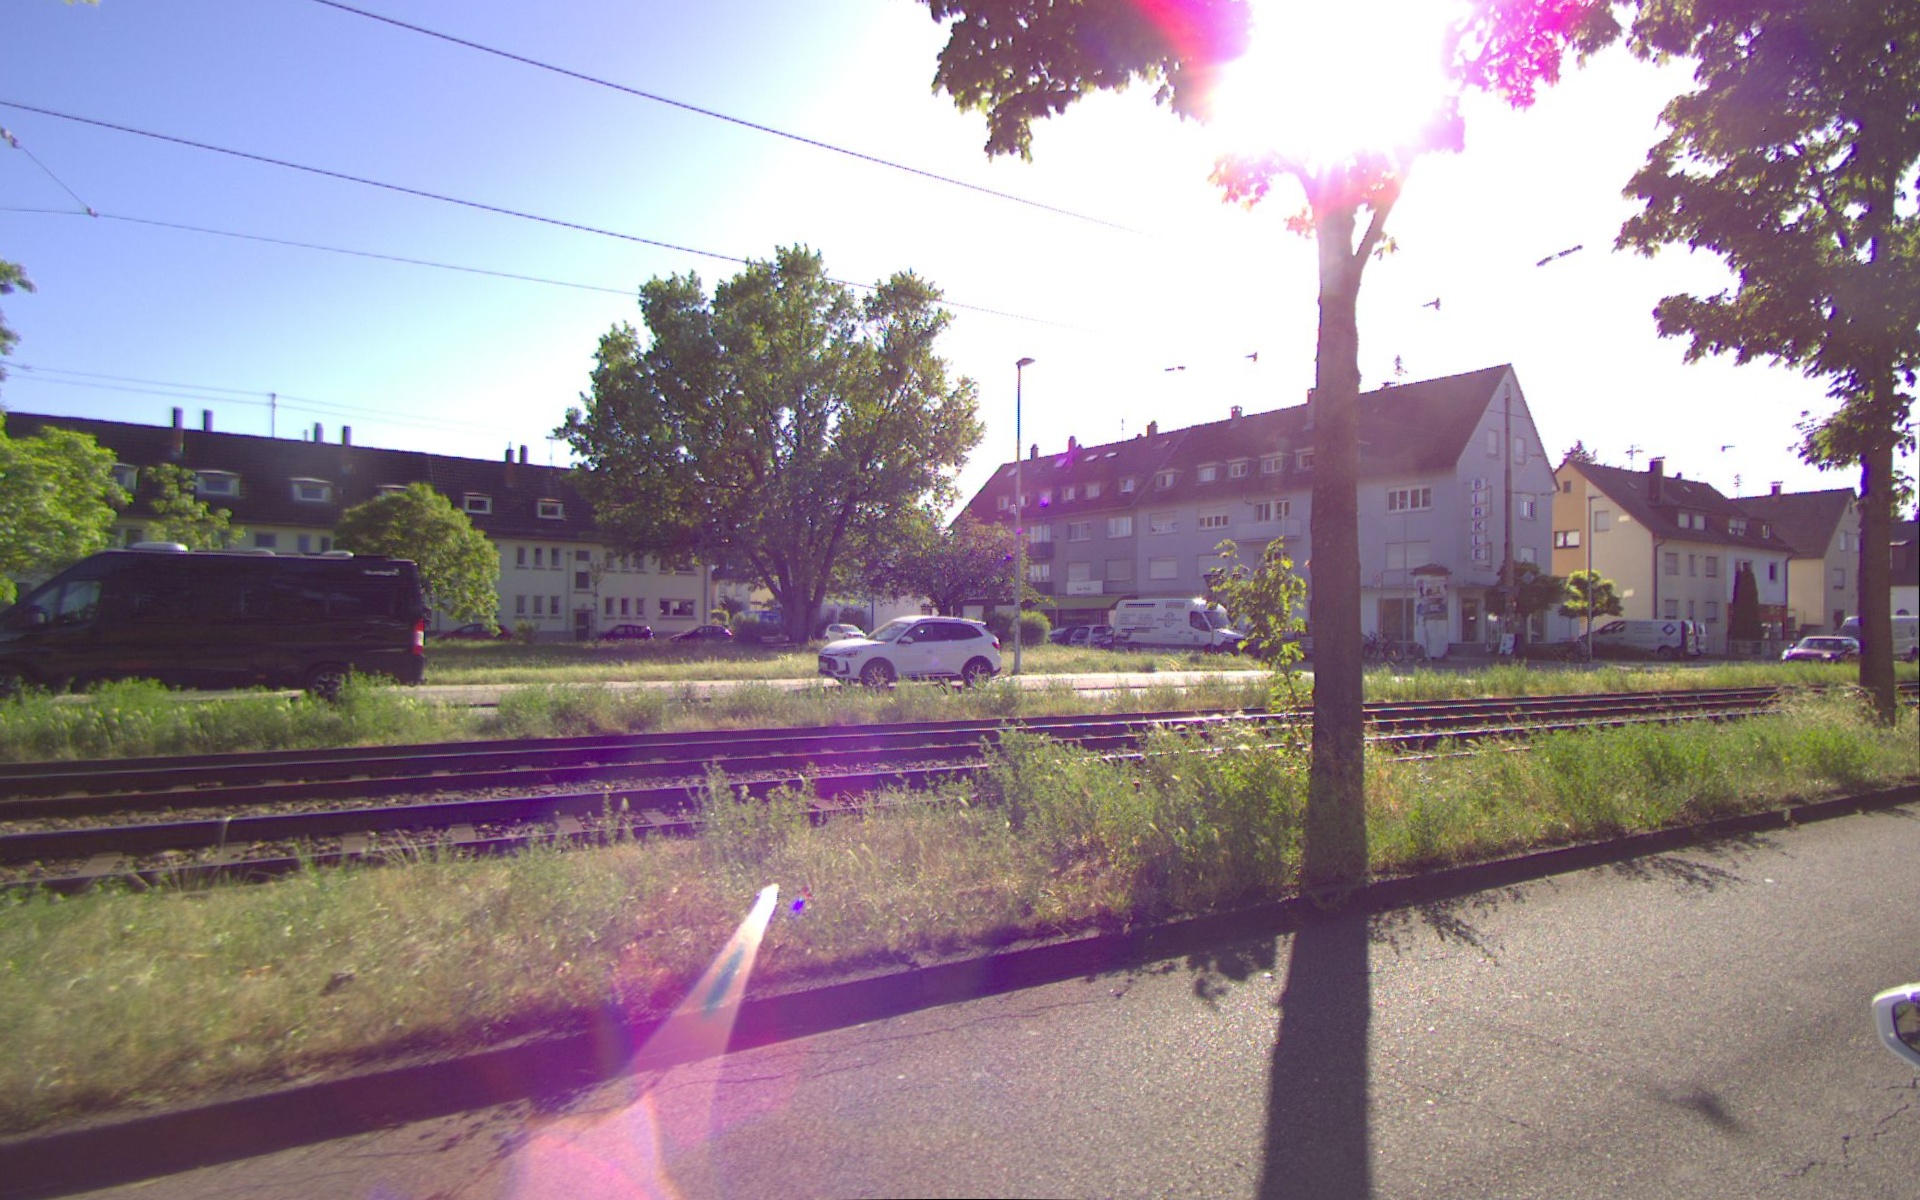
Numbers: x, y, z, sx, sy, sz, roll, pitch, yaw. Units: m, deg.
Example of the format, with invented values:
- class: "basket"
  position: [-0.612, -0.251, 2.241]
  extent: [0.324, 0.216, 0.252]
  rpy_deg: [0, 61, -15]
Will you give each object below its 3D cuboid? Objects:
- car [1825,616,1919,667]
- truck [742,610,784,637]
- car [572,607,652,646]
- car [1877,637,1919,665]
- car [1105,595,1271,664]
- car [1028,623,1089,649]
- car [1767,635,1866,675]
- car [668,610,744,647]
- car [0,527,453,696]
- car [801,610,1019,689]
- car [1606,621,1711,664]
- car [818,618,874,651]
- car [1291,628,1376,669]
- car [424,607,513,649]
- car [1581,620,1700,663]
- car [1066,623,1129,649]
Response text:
- class: "car"
  position: [48.220, 2.218, 52.919]
  extent: [6.599, 2.492, 1.983]
  rpy_deg: [3, 0, -31]
- class: "truck"
  position: [-16.833, 1.998, 85.702]
  extent: [1.981, 2.117, 4.088]
  rpy_deg: [2, 0, -35]
- class: "car"
  position: [-19.876, 1.502, 57.390]
  extent: [3.957, 2.040, 1.982]
  rpy_deg: [3, 0, -32]
- class: "car"
  position: [53.056, 2.868, 55.823]
  extent: [4.605, 1.431, 1.815]
  rpy_deg: [3, 0, -31]
- class: "car"
  position: [9.293, 1.141, 41.758]
  extent: [2.307, 2.541, 7.021]
  rpy_deg: [2, 0, -34]
- class: "car"
  position: [5.968, 2.188, 60.526]
  extent: [3.596, 1.484, 1.518]
  rpy_deg: [2, -1, -37]
- class: "car"
  position: [32.329, 2.057, 37.885]
  extent: [3.954, 1.428, 1.668]
  rpy_deg: [2, -1, -31]
- class: "car"
  position: [-15.325, 1.701, 60.586]
  extent: [3.957, 2.040, 1.982]
  rpy_deg: [3, 0, -32]
- class: "car"
  position: [-12.066, 0.247, 16.620]
  extent: [6.390, 2.408, 2.172]
  rpy_deg: [3, 0, -31]
- class: "car"
  position: [-1.117, 1.147, 23.330]
  extent: [4.718, 1.628, 1.814]
  rpy_deg: [3, 0, -30]
- class: "car"
  position: [36.172, 2.170, 52.088]
  extent: [1.984, 1.978, 4.102]
  rpy_deg: [2, -1, -40]
- class: "car"
  position: [-7.847, 2.331, 68.744]
  extent: [1.982, 2.040, 3.957]
  rpy_deg: [2, 0, -37]
- class: "car"
  position: [17.081, 2.223, 45.892]
  extent: [4.066, 1.692, 1.780]
  rpy_deg: [3, 0, -39]
- class: "car"
  position: [-25.737, 1.456, 52.623]
  extent: [3.957, 2.040, 1.982]
  rpy_deg: [3, 0, -32]
- class: "car"
  position: [34.193, 2.057, 50.584]
  extent: [1.984, 1.971, 4.578]
  rpy_deg: [2, -1, -40]
- class: "car"
  position: [8.109, 2.134, 59.179]
  extent: [3.596, 1.468, 1.518]
  rpy_deg: [2, -1, -36]
